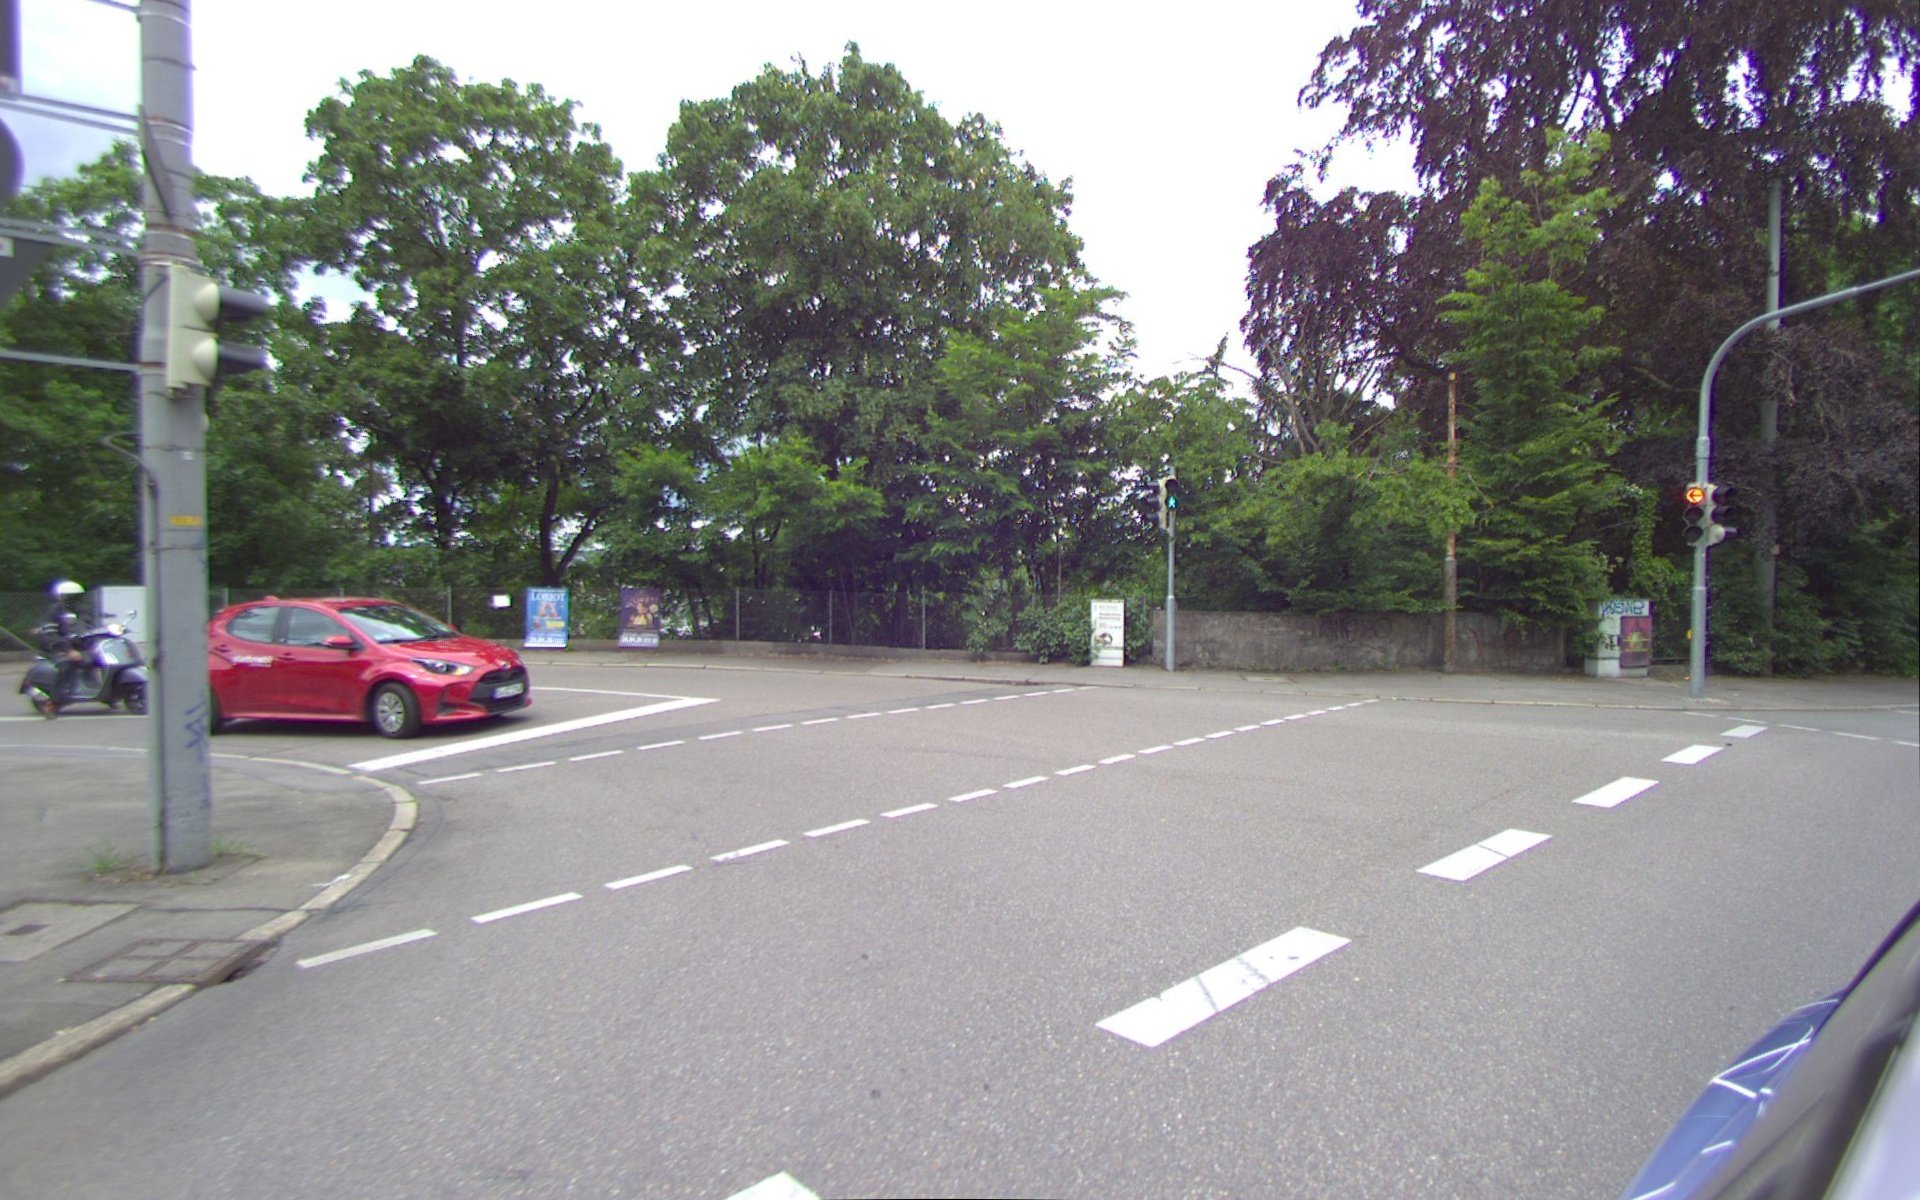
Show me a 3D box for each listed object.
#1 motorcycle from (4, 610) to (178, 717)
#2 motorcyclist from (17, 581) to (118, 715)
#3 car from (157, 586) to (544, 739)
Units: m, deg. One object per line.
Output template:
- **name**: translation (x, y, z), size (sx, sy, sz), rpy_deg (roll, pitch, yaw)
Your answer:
- **motorcycle**: translation (-10.957, 0.783, 12.785), size (1.719, 1.248, 0.725), rpy_deg (1, 1, 8)
- **motorcyclist**: translation (-11.300, 0.583, 12.831), size (0.638, 1.624, 0.725), rpy_deg (1, 1, 8)
- **car**: translation (-6.909, 0.656, 11.623), size (3.642, 1.523, 1.647), rpy_deg (-1, 2, 12)
